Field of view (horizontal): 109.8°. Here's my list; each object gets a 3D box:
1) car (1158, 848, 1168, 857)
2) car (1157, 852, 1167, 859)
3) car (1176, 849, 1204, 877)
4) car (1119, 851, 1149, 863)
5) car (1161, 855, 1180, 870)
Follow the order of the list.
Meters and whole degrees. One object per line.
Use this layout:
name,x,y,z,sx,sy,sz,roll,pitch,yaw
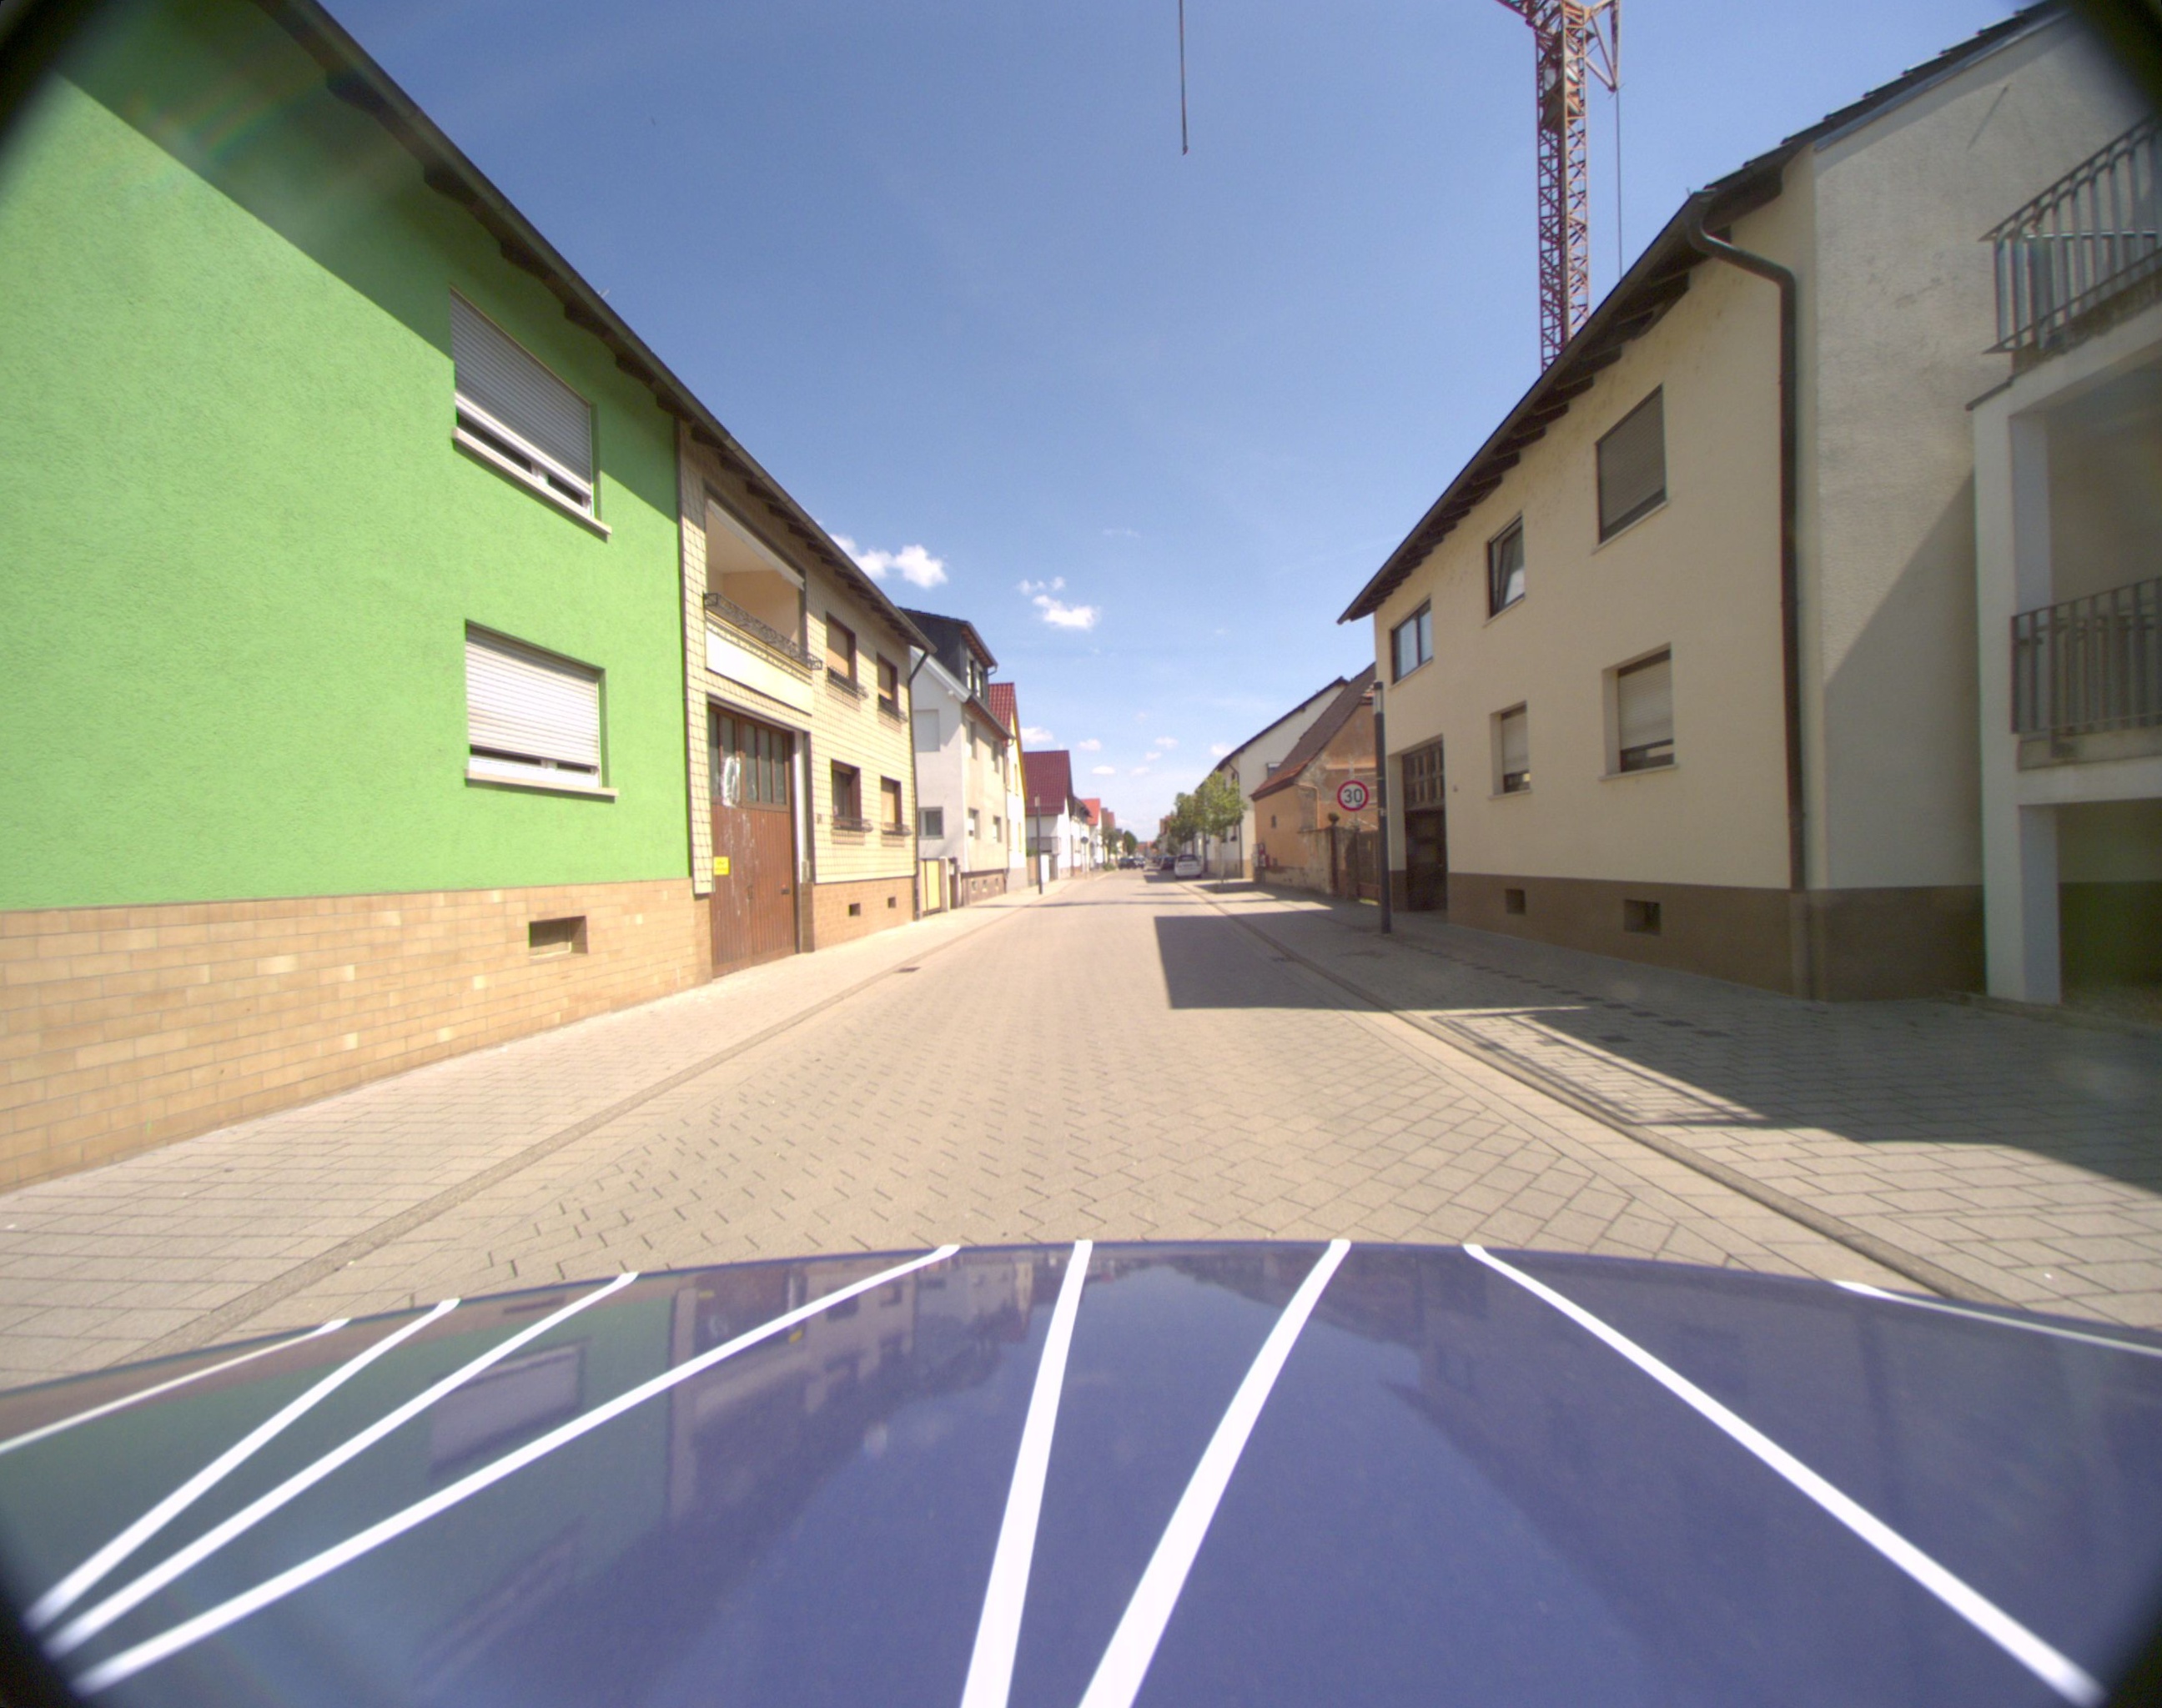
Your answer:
car,15.195,-0.286,141.310,1.851,1.688,4.001,-2,0,5
car,17.365,0.315,162.861,1.854,1.543,4.001,-2,0,3
car,6.799,0.547,47.684,1.575,1.552,2.823,-4,0,7
car,6.863,0.391,99.510,1.731,1.420,3.808,-2,0,-40
car,10.089,0.979,85.837,1.751,1.557,3.956,-2,0,3
